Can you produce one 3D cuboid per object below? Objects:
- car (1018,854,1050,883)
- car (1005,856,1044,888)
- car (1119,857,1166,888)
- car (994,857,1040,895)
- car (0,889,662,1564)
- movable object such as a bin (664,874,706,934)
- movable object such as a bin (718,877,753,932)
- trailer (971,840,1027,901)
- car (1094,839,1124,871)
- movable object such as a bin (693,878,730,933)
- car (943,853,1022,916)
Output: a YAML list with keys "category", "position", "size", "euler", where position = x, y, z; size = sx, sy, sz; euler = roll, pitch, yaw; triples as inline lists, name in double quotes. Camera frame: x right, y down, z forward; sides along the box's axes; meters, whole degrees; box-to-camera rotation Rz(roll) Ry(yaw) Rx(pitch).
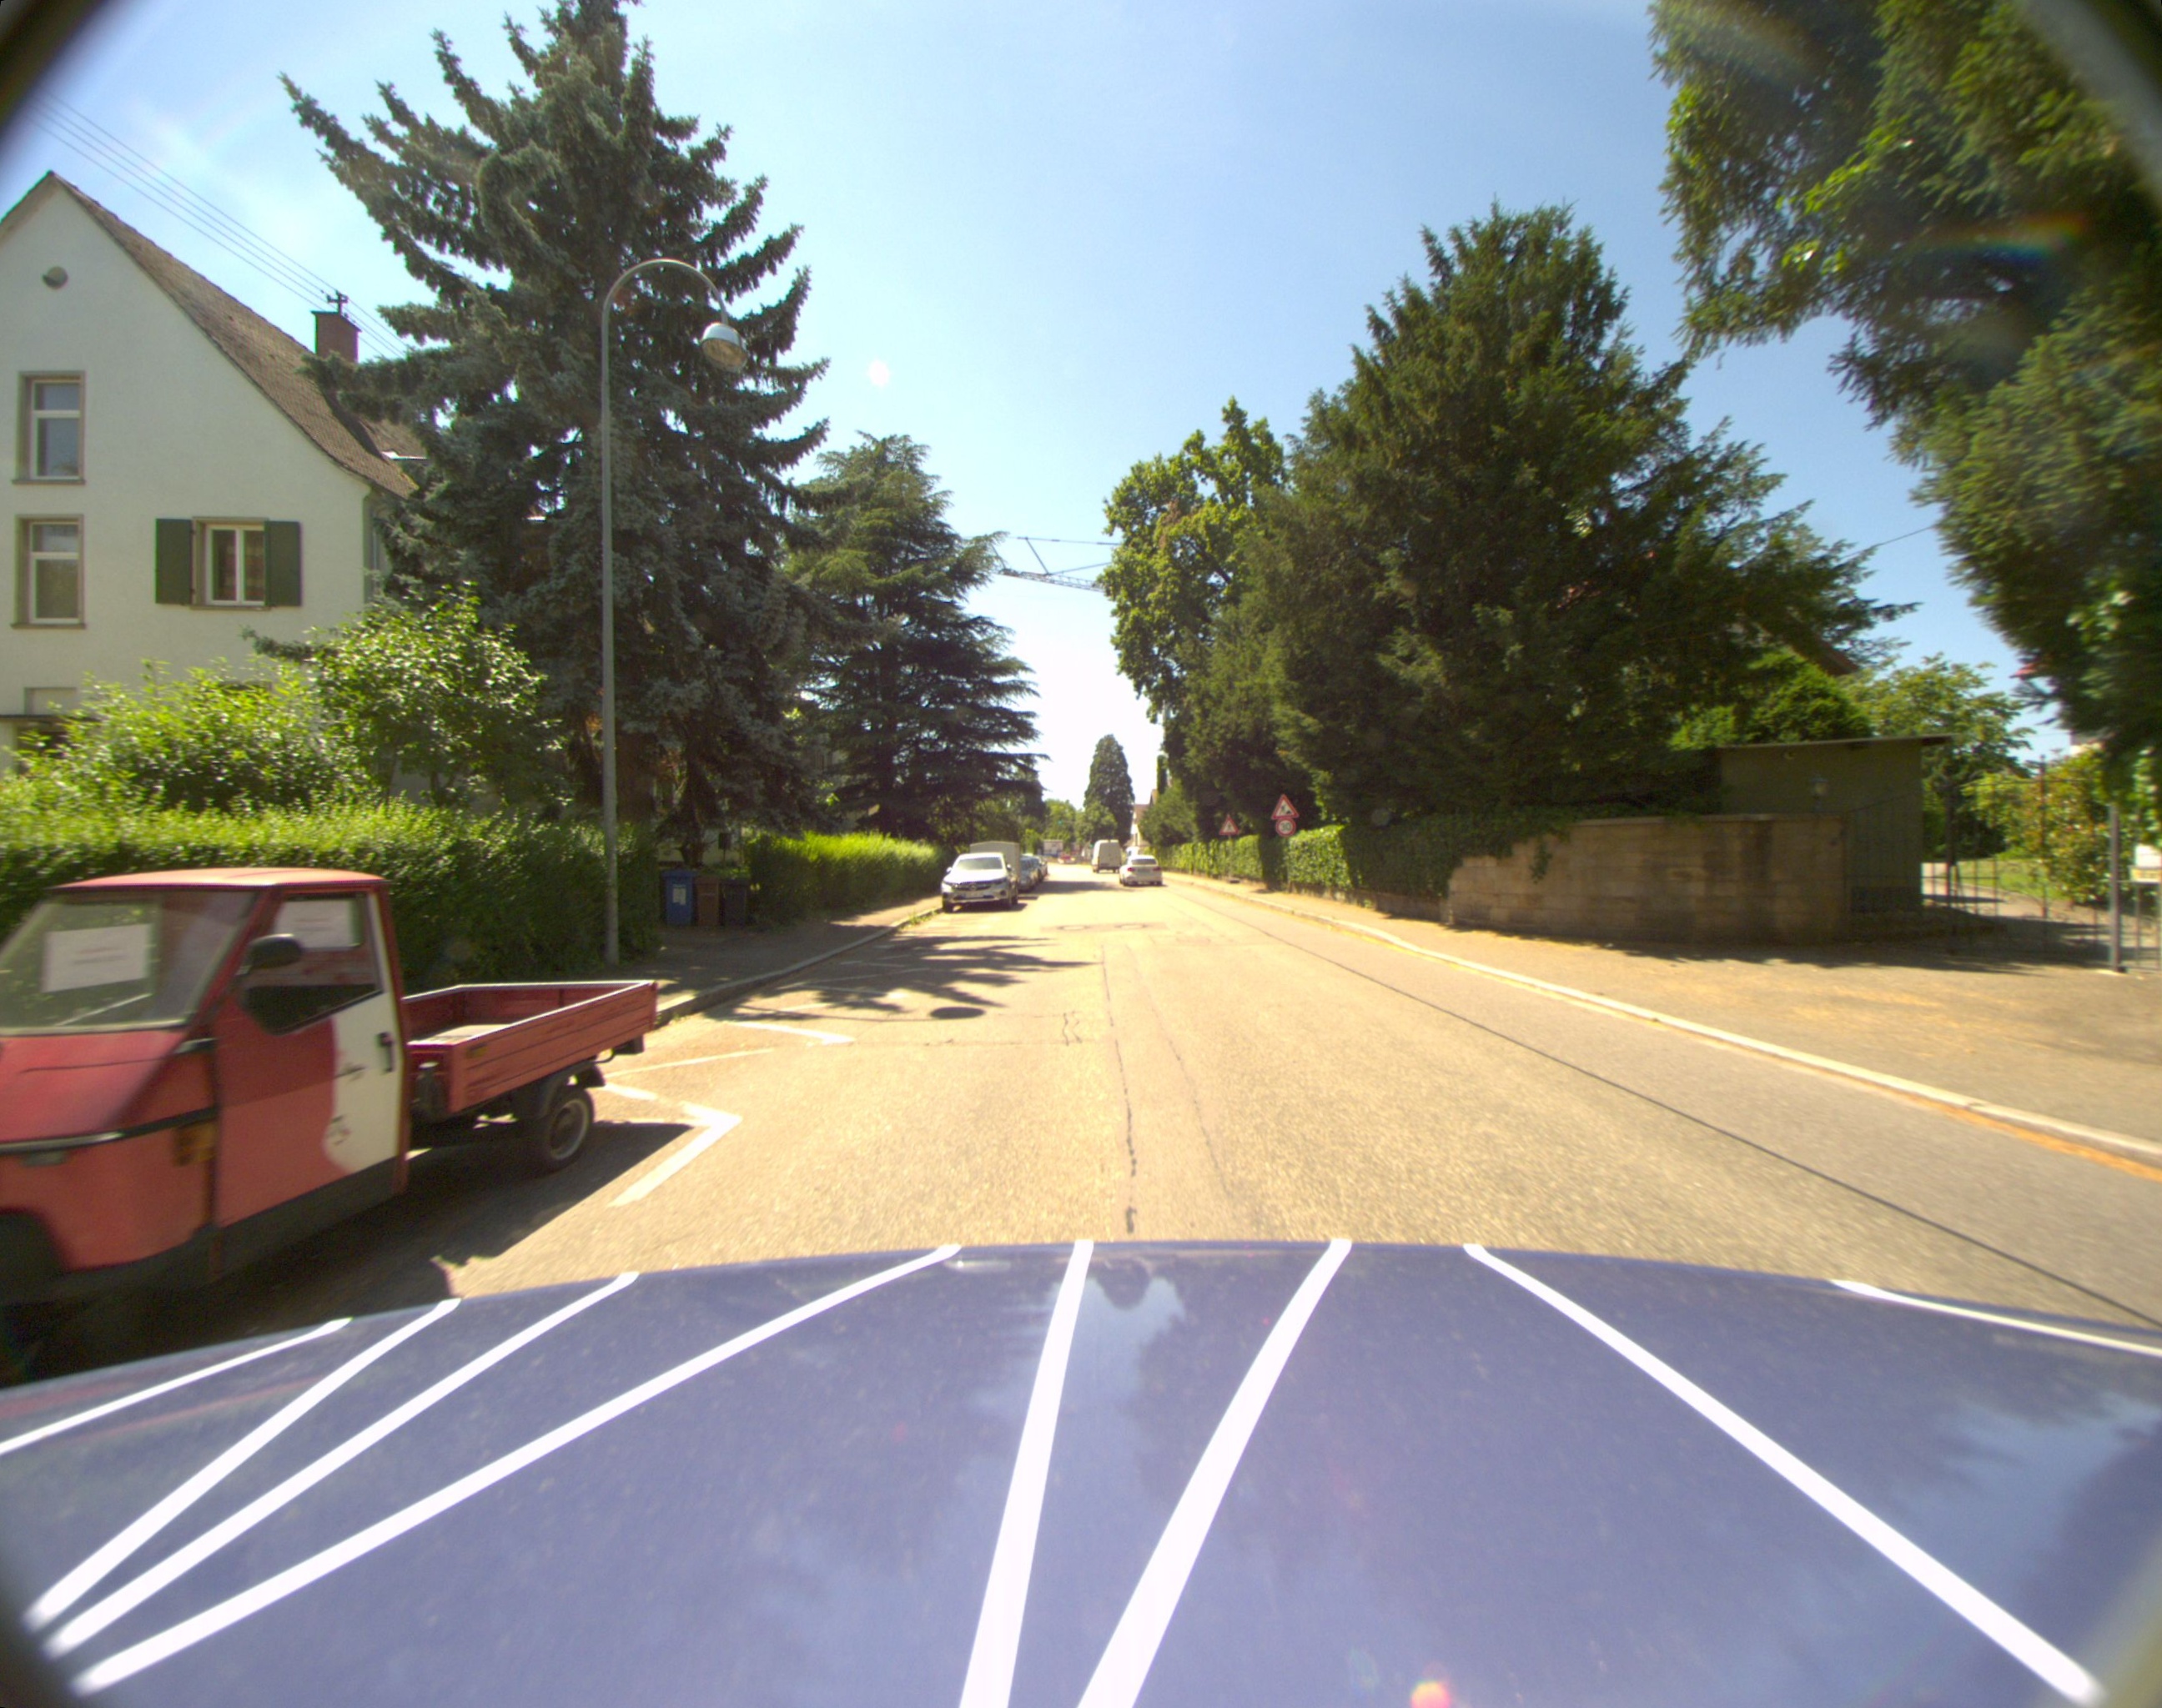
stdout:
- category: "car"
  position: [-2.682, 0.801, 44.248]
  size: [1.619, 1.443, 4.373]
  euler: [-3, 2, -1]
- category: "car"
  position: [-2.813, 0.855, 38.318]
  size: [1.618, 1.461, 4.064]
  euler: [-1, 0, 0]
- category: "car"
  position: [2.899, 0.849, 36.738]
  size: [1.869, 1.375, 4.604]
  euler: [0, 0, 0]
- category: "car"
  position: [-2.705, 0.895, 32.912]
  size: [1.619, 1.388, 4.258]
  euler: [-2, 1, 0]
- category: "car"
  position: [-3.198, 0.984, 3.149]
  size: [1.263, 1.487, 2.709]
  euler: [-2, 0, 3]
- category: "movable object such as a bin"
  position: [-7.407, 0.928, 14.229]
  size: [0.449, 1.075, 0.559]
  euler: [-2, 1, 1]
- category: "movable object such as a bin"
  position: [-6.481, 0.942, 14.265]
  size: [0.405, 0.985, 0.449]
  euler: [-2, 1, 1]
- category: "trailer"
  position: [-2.978, 0.578, 28.246]
  size: [1.684, 2.056, 3.708]
  euler: [-2, 0, -1]
- category: "car"
  position: [2.260, 0.081, 62.670]
  size: [1.999, 2.518, 5.893]
  euler: [-1, 0, -2]
- category: "movable object such as a bin"
  position: [-6.924, 0.957, 14.263]
  size: [0.425, 0.985, 0.472]
  euler: [-2, 1, 1]
- category: "car"
  position: [-2.812, 0.828, 22.656]
  size: [1.776, 1.622, 4.604]
  euler: [-2, 0, -1]
